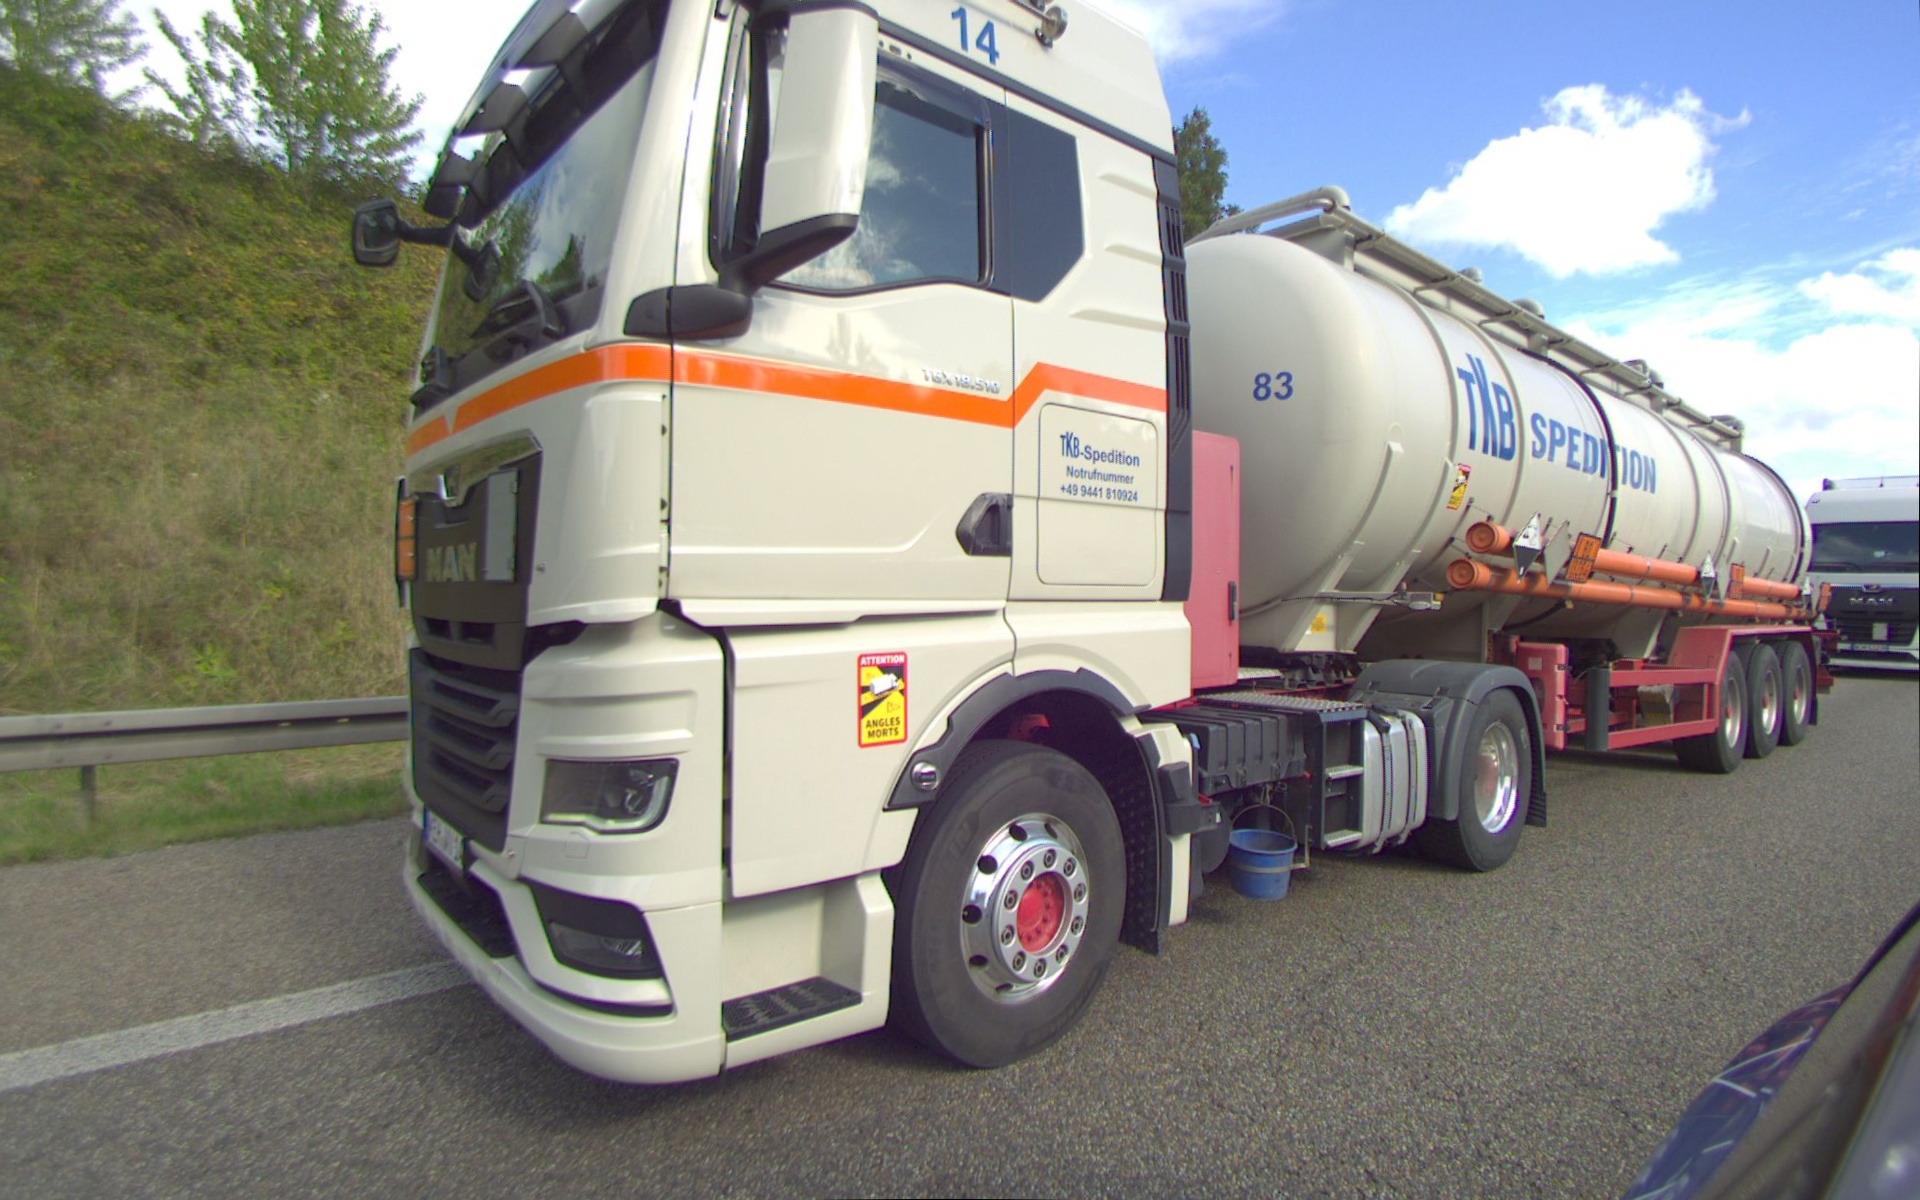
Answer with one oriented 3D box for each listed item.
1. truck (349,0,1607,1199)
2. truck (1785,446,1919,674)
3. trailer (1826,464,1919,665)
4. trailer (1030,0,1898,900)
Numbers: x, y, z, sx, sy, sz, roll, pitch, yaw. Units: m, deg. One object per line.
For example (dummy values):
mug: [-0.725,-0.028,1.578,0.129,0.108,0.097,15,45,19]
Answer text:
truck: [0.550,-0.711,4.999,5.798,4.094,2.809,0,1,-39]
truck: [19.138,-0.743,20.403,5.605,4.122,2.840,0,1,-39]
trailer: [24.742,-0.763,25.027,13.132,4.122,2.832,0,1,-40]
trailer: [5.585,-0.739,9.145,10.982,4.077,2.804,0,1,-40]
